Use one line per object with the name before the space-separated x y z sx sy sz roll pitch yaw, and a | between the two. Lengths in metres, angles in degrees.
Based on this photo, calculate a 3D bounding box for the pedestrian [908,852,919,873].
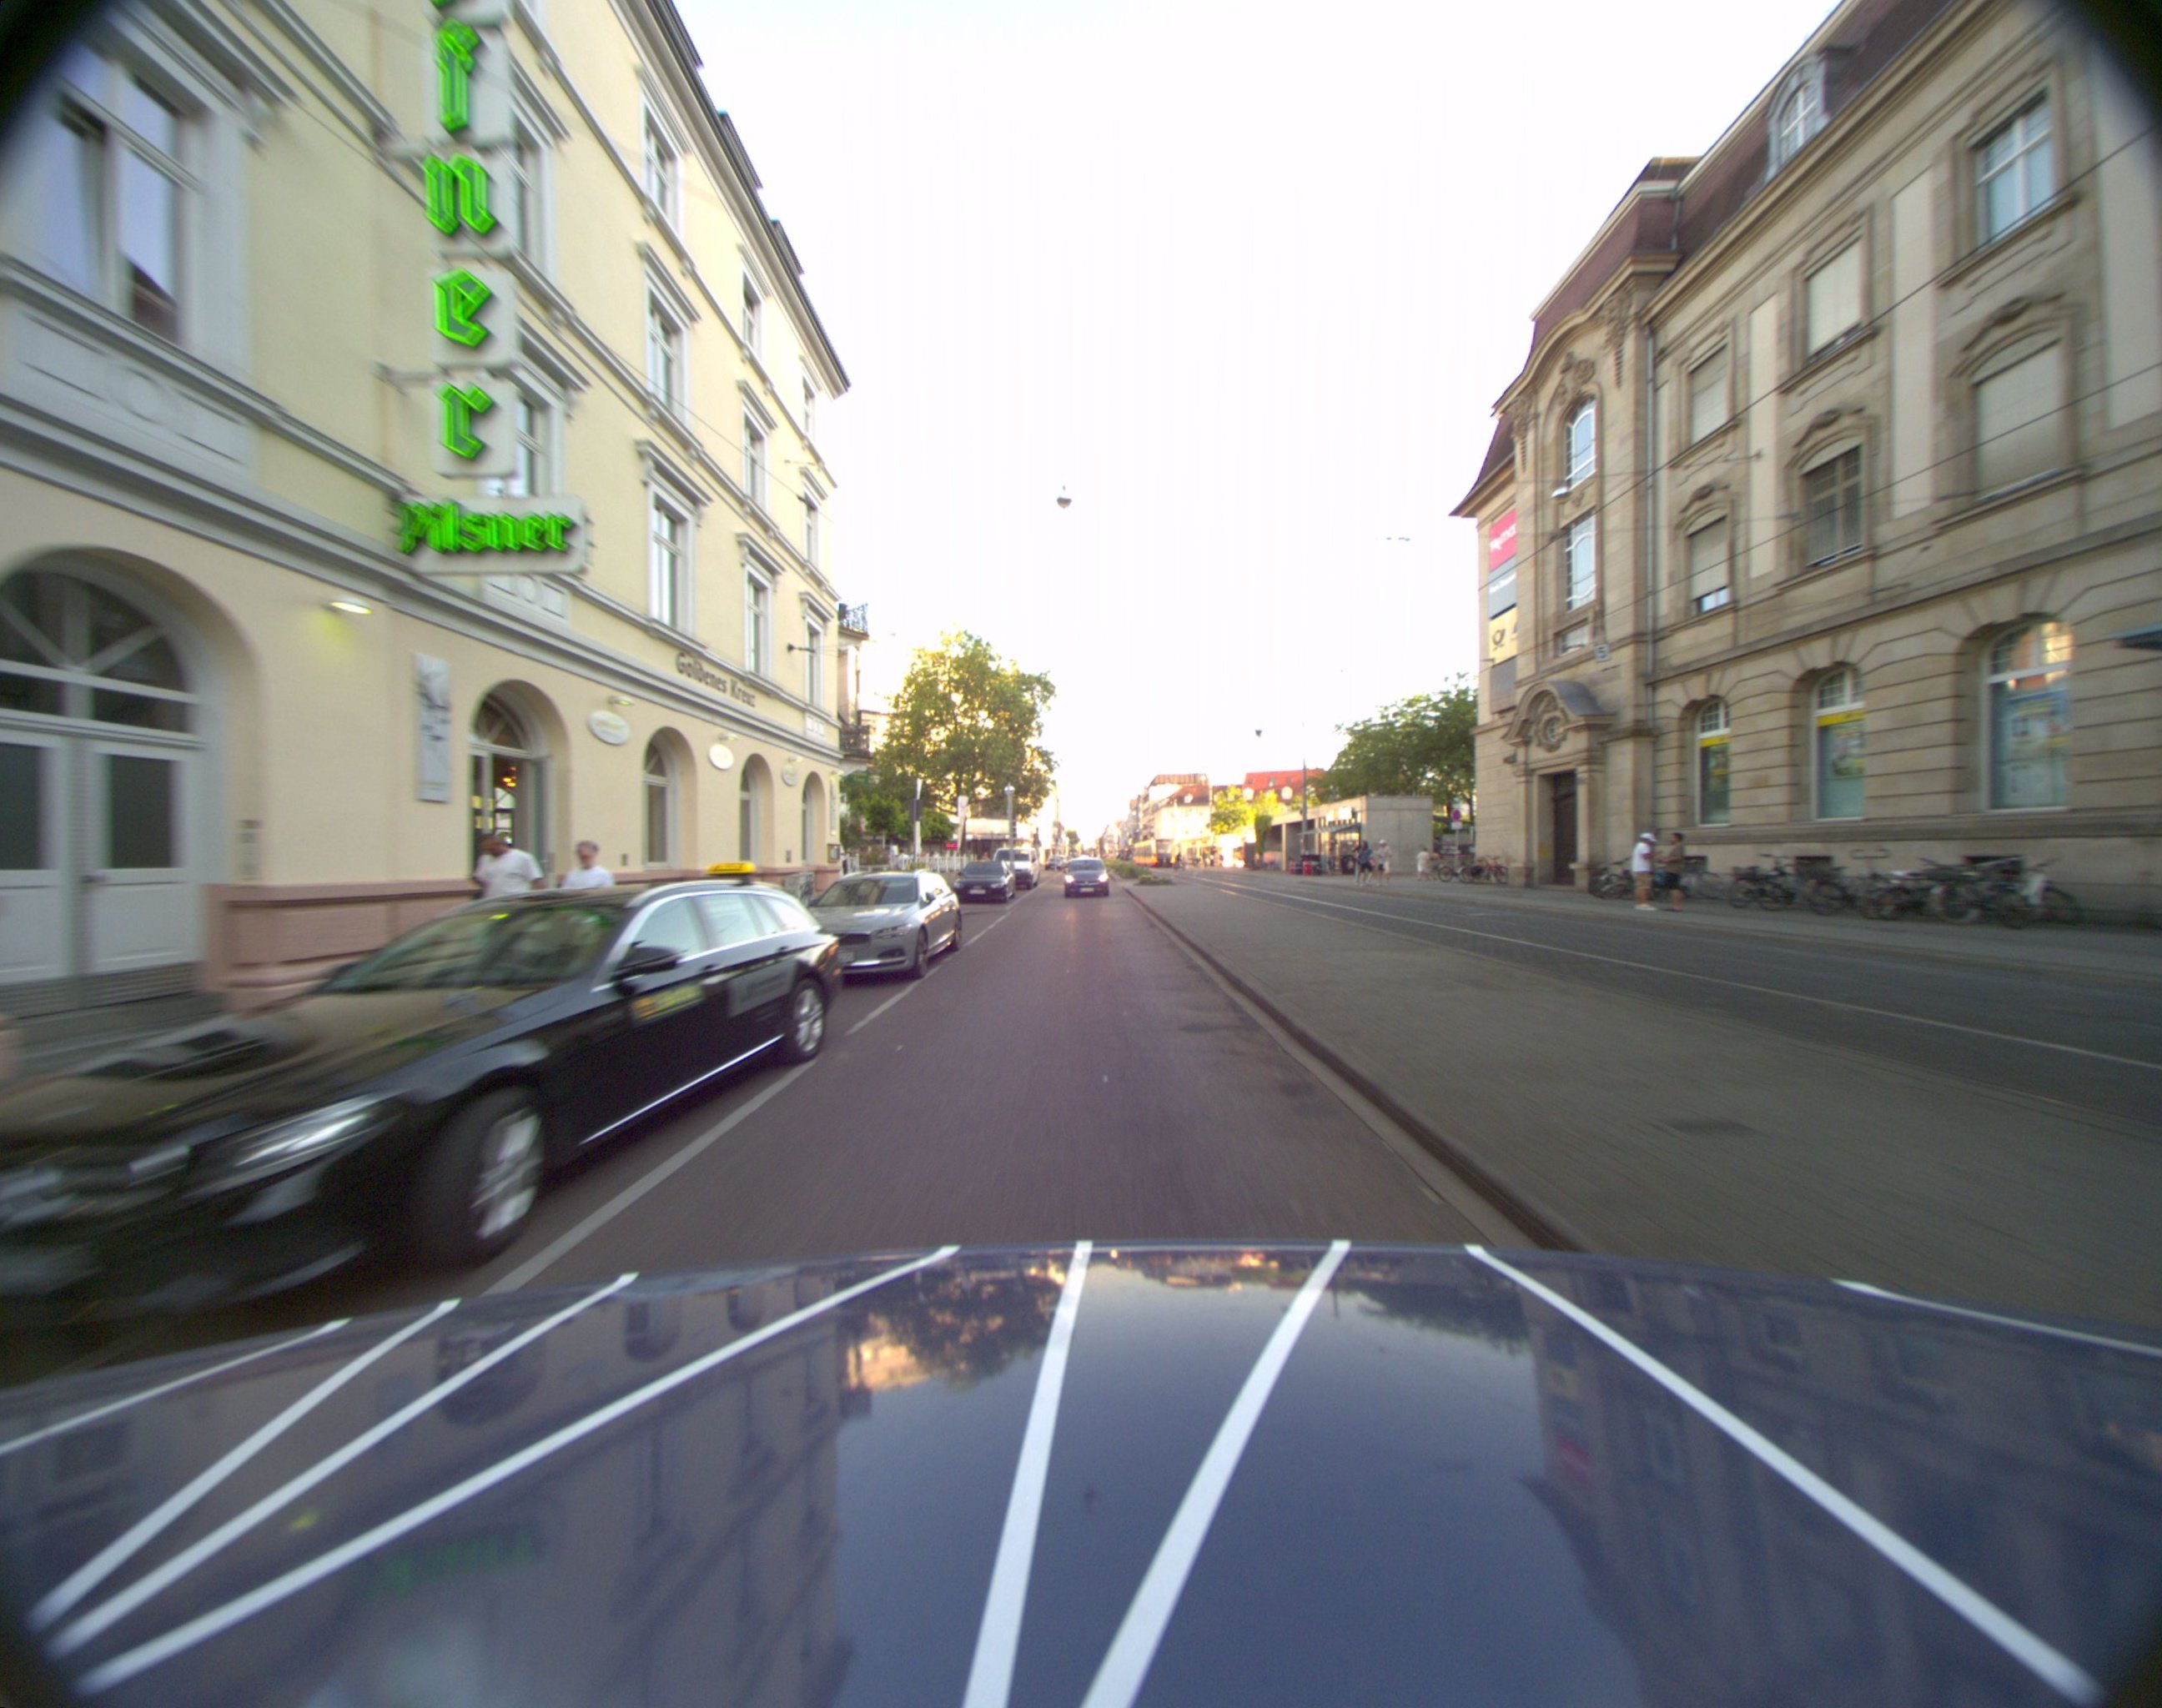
pedestrian | -10.332 0.511 46.899 0.532 1.289 0.491 -1 0 1

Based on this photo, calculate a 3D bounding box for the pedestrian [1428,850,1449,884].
pedestrian | 16.917 0.615 35.967 0.661 1.553 0.679 -1 1 -3

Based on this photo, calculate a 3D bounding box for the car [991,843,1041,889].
car | -3.008 0.518 36.336 1.857 2.055 5.215 0 1 1

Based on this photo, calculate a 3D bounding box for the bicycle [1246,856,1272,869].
bicycle | 16.052 0.753 68.550 2.131 1.153 0.692 -1 0 2

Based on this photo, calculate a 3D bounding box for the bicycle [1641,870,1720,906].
bicycle | 15.224 0.862 19.325 1.579 0.869 0.451 -2 1 5

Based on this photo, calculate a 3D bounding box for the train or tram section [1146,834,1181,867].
train or tram section | 10.178 -0.394 95.008 2.902 3.664 13.481 -1 0 0

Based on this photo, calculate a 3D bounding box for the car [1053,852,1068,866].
car | -2.576 0.618 95.671 1.771 1.565 3.999 1 1 1

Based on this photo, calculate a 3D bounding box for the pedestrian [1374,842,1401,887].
pedestrian | 11.977 0.399 29.690 0.677 1.726 0.680 0 0 -12

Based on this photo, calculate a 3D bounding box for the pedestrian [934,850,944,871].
pedestrian | -8.991 0.427 48.126 0.532 1.289 0.491 -1 0 1

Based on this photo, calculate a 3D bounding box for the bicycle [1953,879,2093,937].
bicycle | 15.307 0.870 12.366 1.579 0.869 0.451 -2 1 5

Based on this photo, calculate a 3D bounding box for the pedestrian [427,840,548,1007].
pedestrian | -6.291 0.715 8.085 0.761 1.679 0.551 4 1 0

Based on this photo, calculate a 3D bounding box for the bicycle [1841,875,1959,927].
bicycle | 15.072 0.860 13.998 1.579 0.869 0.451 -2 1 5

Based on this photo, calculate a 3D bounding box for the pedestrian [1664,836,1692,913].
pedestrian | 13.116 0.441 16.706 0.375 1.664 0.494 -1 1 27

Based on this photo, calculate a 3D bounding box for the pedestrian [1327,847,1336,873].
pedestrian | 16.296 0.404 49.385 0.394 1.643 0.401 -2 1 -6

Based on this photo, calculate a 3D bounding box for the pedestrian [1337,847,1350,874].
pedestrian | 16.520 0.414 47.766 0.563 1.643 0.552 -2 1 -6

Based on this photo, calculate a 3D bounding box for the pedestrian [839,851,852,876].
pedestrian | -12.689 0.525 40.889 0.490 1.325 0.532 -1 0 1

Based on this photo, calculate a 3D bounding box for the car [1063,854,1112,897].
car | 0.256 0.798 30.039 1.738 1.495 3.999 -2 1 1

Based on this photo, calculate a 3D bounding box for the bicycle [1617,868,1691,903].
bicycle | 15.280 0.828 20.272 1.579 0.869 0.451 -2 1 5

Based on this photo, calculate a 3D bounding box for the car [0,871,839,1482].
car | -3.139 1.010 4.413 1.737 1.581 4.442 -3 1 3

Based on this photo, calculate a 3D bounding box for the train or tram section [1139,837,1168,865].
train or tram section | 10.208 -0.390 107.821 2.902 3.664 11.983 -1 0 0

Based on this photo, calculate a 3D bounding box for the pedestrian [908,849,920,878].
pedestrian | -7.694 0.435 34.986 0.532 1.288 0.490 -1 1 -15

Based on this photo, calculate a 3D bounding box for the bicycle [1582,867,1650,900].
bicycle | 15.289 0.849 21.732 1.579 0.869 0.451 -2 1 5

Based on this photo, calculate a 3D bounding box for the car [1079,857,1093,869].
car | 0.644 1.182 99.465 1.810 1.474 4.283 -3 0 0

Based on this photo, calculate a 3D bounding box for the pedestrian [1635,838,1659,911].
pedestrian | 12.748 0.449 17.114 0.375 1.622 0.494 -1 1 32

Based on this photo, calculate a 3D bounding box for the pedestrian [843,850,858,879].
pedestrian | -10.836 0.494 35.678 0.532 1.325 0.491 -1 0 1

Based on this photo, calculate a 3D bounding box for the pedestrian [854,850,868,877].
pedestrian | -10.719 0.457 37.035 0.532 1.325 0.491 -1 0 1

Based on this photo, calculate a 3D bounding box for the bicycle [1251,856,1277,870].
bicycle | 16.094 0.770 66.930 2.131 1.153 0.692 -1 0 2

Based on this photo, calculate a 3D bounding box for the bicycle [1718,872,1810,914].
bicycle | 15.352 0.882 17.107 1.579 0.869 0.451 -2 1 5

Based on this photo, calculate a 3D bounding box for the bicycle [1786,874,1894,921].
bicycle | 14.954 0.853 14.993 1.579 0.869 0.451 -2 1 5

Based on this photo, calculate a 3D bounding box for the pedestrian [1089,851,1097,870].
pedestrian | 1.071 0.583 68.568 0.638 1.616 0.519 -1 2 -10

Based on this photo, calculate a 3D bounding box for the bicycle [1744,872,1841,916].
bicycle | 15.289 0.850 16.345 1.579 0.869 0.451 -2 1 5

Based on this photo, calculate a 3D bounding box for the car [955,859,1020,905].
car | -3.223 0.923 26.891 1.701 1.382 4.547 1 1 0

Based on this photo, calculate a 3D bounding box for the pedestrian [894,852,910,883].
pedestrian | -7.728 0.576 32.862 0.532 1.288 0.491 -1 0 1

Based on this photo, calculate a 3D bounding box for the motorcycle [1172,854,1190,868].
motorcycle | 9.635 0.659 72.977 0.804 1.230 1.783 -1 1 40

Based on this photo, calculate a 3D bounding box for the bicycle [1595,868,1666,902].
bicycle | 15.316 0.854 21.193 1.579 0.869 0.451 -2 1 5

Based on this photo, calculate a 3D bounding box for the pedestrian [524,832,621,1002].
pedestrian | -5.330 0.638 7.974 0.619 1.679 0.486 4 1 16

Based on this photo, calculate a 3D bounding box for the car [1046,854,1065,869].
car | -2.724 0.778 81.392 1.771 1.565 3.999 1 1 1

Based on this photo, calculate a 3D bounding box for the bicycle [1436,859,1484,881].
bicycle | 16.869 0.705 33.843 1.839 0.863 0.635 -2 1 -1

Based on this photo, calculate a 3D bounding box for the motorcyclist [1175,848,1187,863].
motorcyclist | 9.637 0.161 73.021 0.798 1.431 0.802 -1 1 40

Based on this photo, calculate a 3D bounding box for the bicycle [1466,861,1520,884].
bicycle | 16.826 0.757 31.065 1.839 0.863 0.635 -2 1 -1

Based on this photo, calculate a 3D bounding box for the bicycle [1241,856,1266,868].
bicycle | 15.926 0.738 70.288 2.131 1.153 0.692 -1 0 2

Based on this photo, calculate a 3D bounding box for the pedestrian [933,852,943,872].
pedestrian | -8.932 0.494 47.468 0.532 1.289 0.491 -1 0 1

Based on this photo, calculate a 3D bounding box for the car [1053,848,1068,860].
car | -2.711 -0.048 102.069 1.771 1.565 3.999 1 1 1

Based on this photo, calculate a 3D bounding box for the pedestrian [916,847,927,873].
pedestrian | -9.501 0.363 45.215 0.490 1.549 0.532 -1 0 1

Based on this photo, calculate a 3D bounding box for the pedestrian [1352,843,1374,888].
pedestrian | 11.047 0.440 29.741 0.483 1.726 0.679 0 0 -15

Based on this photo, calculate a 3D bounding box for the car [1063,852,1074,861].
car | -2.233 0.381 138.326 1.771 1.565 3.999 1 1 1

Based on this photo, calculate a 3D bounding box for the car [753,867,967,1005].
car | -3.007 1.034 11.500 1.810 1.467 4.692 -2 1 0

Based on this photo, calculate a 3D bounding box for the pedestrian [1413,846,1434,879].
pedestrian | 16.196 0.403 35.939 0.661 1.553 0.679 -1 1 -3

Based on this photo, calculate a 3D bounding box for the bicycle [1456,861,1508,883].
bicycle | 16.763 0.751 31.789 1.839 0.863 0.635 -2 1 -1

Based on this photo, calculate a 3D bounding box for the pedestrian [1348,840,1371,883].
pedestrian | 11.234 0.305 30.620 0.650 1.726 0.594 0 0 -9

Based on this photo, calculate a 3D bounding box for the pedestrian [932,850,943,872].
pedestrian | -8.840 0.414 46.893 0.532 1.325 0.491 -1 0 1

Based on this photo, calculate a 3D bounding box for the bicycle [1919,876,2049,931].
bicycle | 15.520 0.854 13.083 1.579 0.869 0.451 -2 1 5
